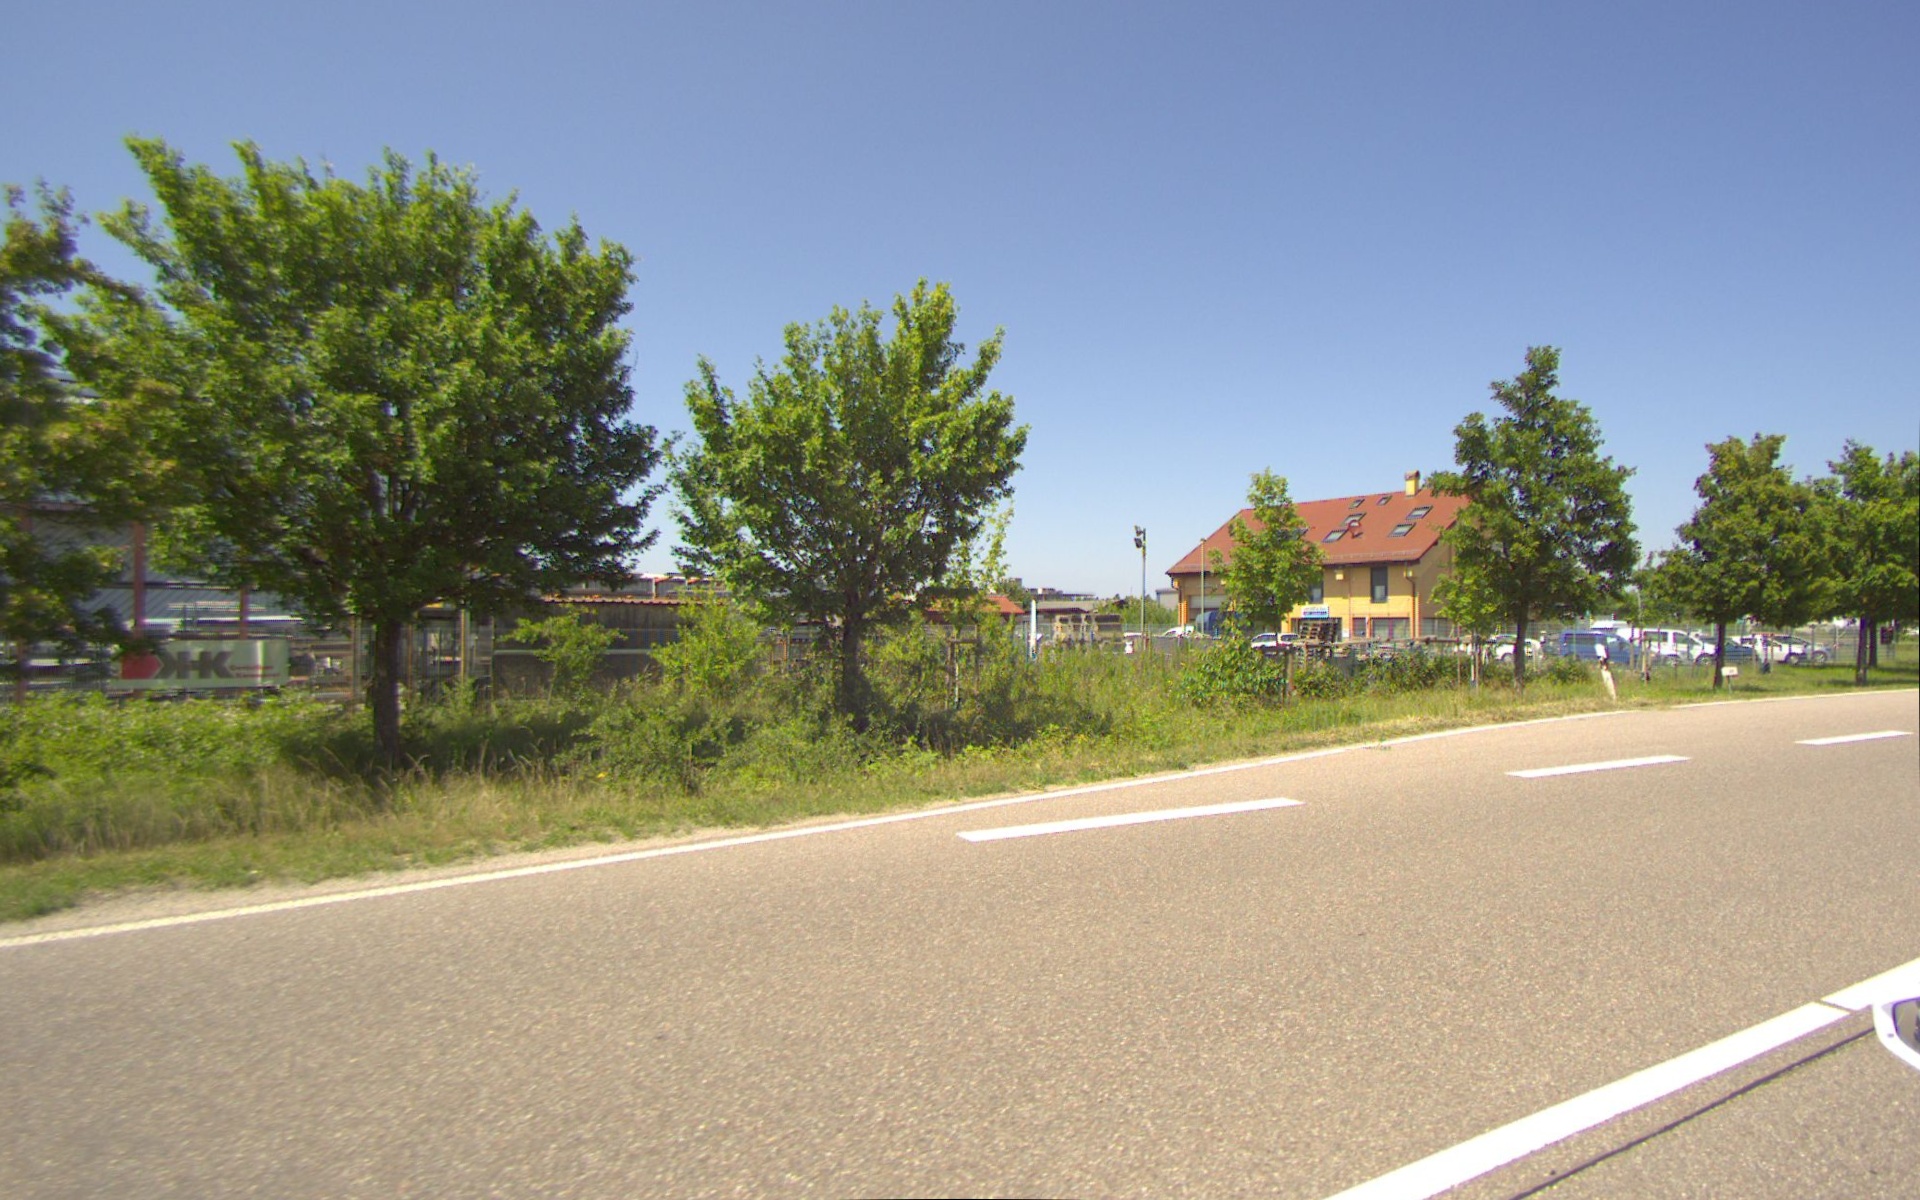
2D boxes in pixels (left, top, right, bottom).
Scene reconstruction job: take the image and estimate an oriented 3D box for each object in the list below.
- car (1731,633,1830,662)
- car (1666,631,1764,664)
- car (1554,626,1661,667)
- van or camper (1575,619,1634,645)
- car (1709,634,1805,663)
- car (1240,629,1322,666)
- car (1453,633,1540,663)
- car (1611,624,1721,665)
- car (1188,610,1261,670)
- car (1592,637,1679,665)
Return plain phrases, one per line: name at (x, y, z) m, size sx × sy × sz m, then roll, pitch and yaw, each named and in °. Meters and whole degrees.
car at (48.680, 2.777, 59.668) m, size 4.258 × 1.563 × 1.589 m, roll 1°, pitch 0°, yaw 22°
car at (41.124, 2.564, 54.845) m, size 3.925 × 1.617 × 1.998 m, roll 0°, pitch -1°, yaw 26°
car at (31.517, 2.202, 48.932) m, size 4.237 × 1.825 × 2.017 m, roll 0°, pitch -1°, yaw 38°
van or camper at (63.005, 3.131, 98.226) m, size 6.469 × 2.394 × 2.448 m, roll 2°, pitch -1°, yaw -33°
car at (45.148, 2.734, 56.978) m, size 3.917 × 1.499 × 1.672 m, roll 1°, pitch -1°, yaw 23°
car at (16.622, 2.447, 52.316) m, size 2.020 × 1.830 × 4.624 m, roll 0°, pitch -2°, yaw -13°
car at (27.808, 2.469, 52.168) m, size 1.624 × 1.427 × 3.666 m, roll 1°, pitch -1°, yaw -32°
car at (37.187, 2.303, 53.066) m, size 4.581 × 1.980 × 1.823 m, roll 0°, pitch -1°, yaw 29°
car at (12.823, 1.971, 49.042) m, size 2.318 × 2.758 × 5.748 m, roll 0°, pitch -2°, yaw 3°
car at (34.034, 2.549, 50.655) m, size 3.619 × 1.281 × 1.810 m, roll 0°, pitch -1°, yaw 35°
